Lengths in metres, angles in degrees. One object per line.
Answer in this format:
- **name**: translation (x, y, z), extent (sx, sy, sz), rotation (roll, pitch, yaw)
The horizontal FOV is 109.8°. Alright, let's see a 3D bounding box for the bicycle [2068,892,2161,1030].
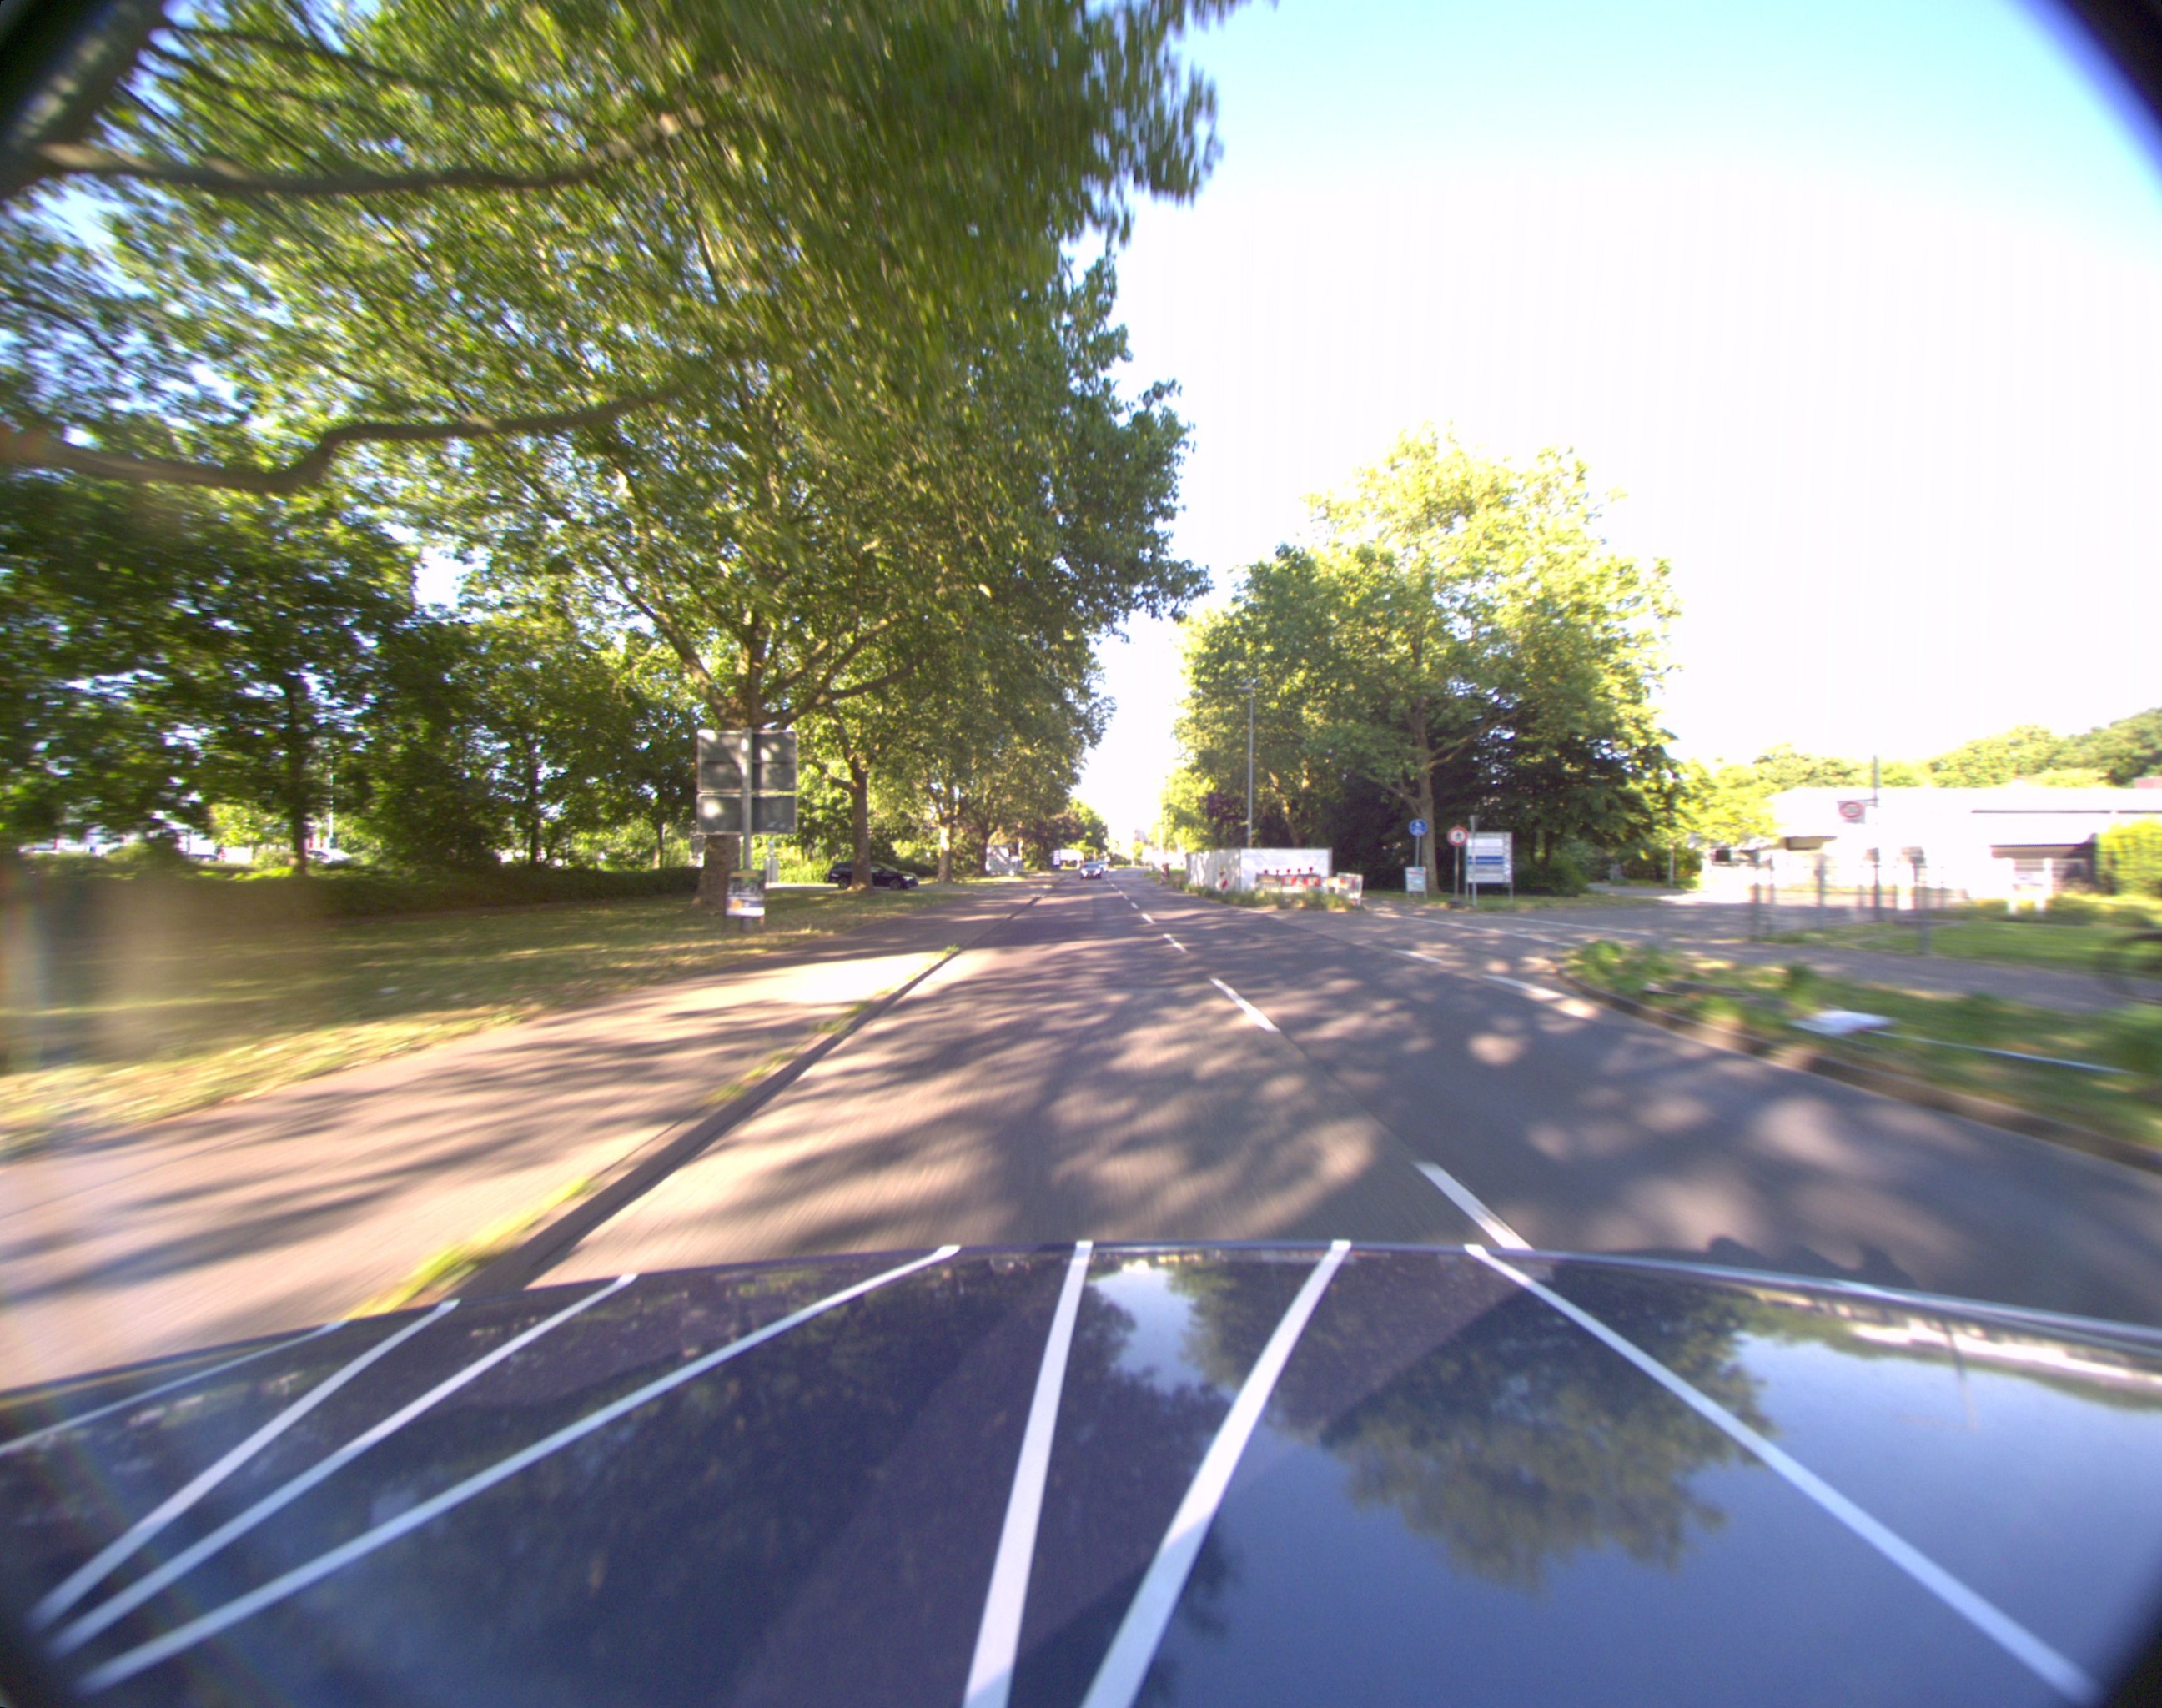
- **bicycle**: translation (10.223, 0.998, 6.589), extent (0.580, 1.238, 2.107), rotation (0, 0, 0)

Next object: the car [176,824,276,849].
- **car**: translation (-54.982, -1.119, 48.904), extent (4.584, 1.543, 2.001), rotation (0, 0, 6)

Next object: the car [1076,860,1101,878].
- **car**: translation (0.724, 1.265, 66.094), extent (1.869, 1.471, 4.088), rotation (0, 0, 5)

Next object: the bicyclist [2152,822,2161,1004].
- **bicyclist**: translation (10.216, 0.536, 6.558), extent (0.580, 1.669, 0.970), rotation (0, 0, 0)

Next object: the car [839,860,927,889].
- **car**: translation (-10.163, 1.040, 39.097), extent (3.996, 1.435, 1.761), rotation (1, 0, 4)

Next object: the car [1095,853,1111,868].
- **car**: translation (2.913, 0.843, 100.921), extent (1.934, 2.002, 4.000), rotation (0, 1, 1)
